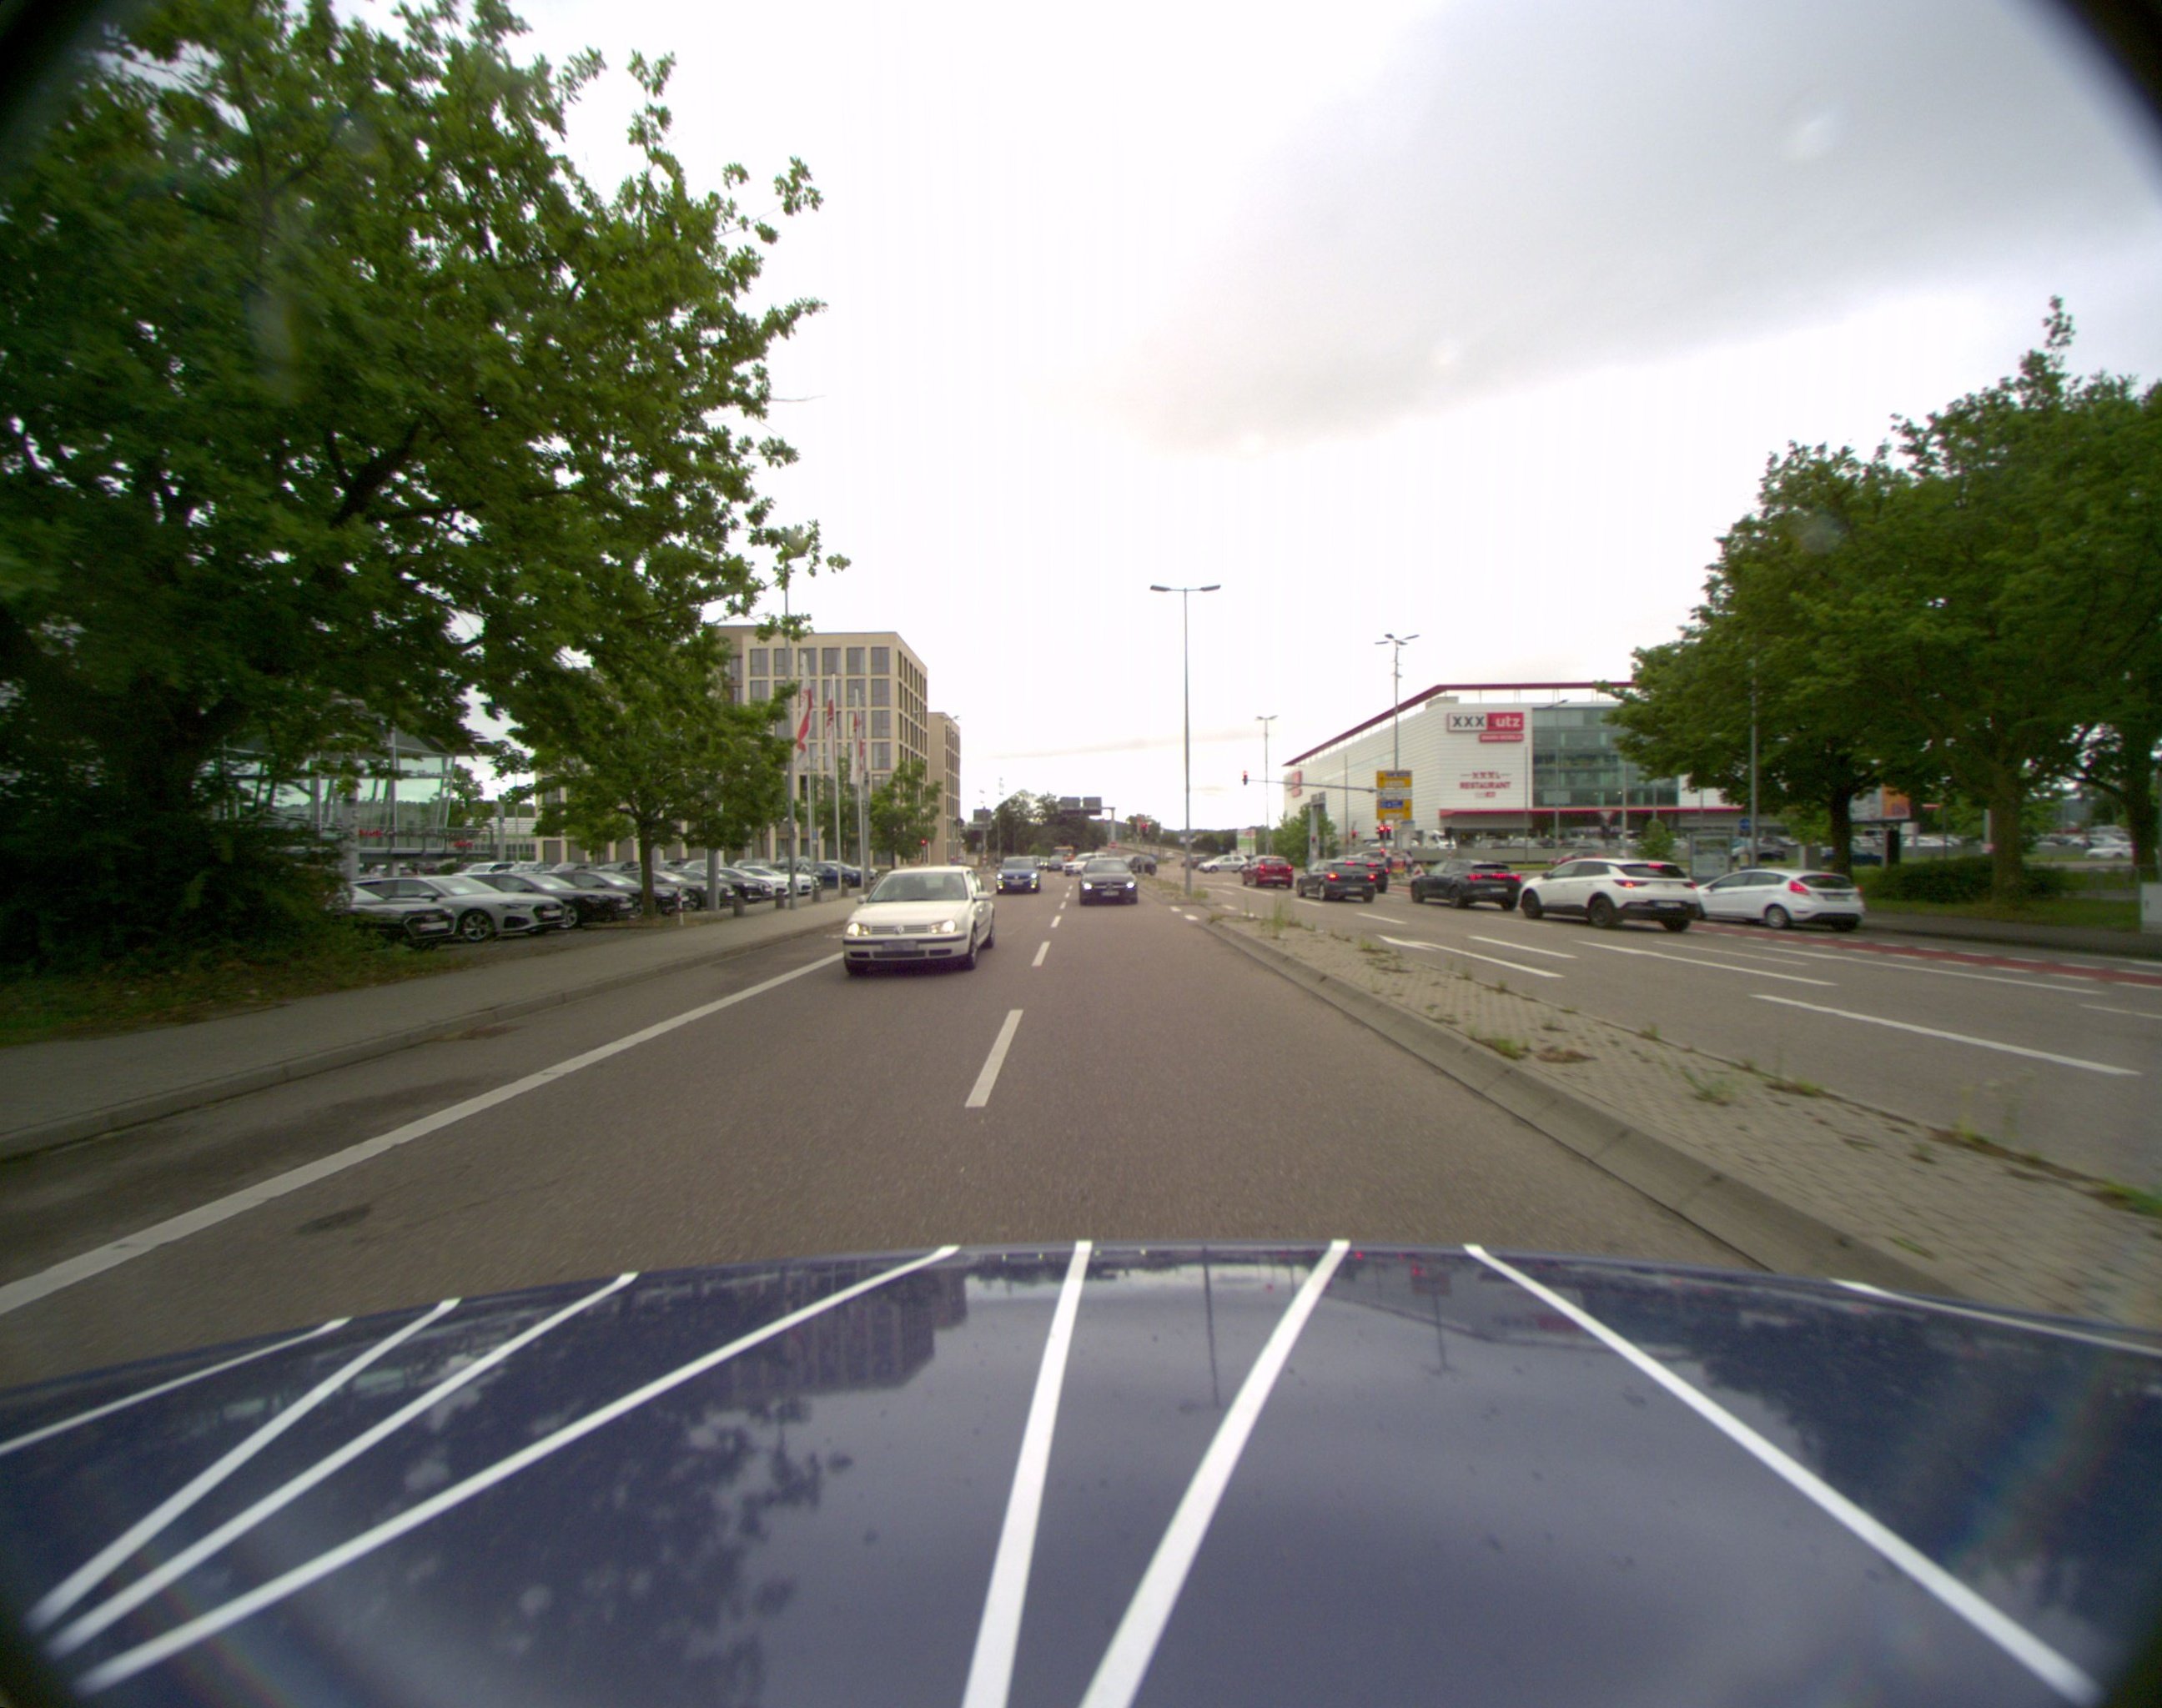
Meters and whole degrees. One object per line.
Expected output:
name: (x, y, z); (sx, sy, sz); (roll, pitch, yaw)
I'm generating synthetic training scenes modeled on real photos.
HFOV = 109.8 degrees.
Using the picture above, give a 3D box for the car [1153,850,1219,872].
car: (7.313, 0.496, 52.857); (4.265, 1.370, 1.765); (-1, -1, -27)

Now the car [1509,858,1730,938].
car: (12.570, 0.926, 18.208); (1.998, 1.585, 4.577); (3, 0, 1)

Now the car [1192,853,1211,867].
car: (14.242, 0.734, 89.984); (1.693, 1.519, 3.928); (-2, -1, 3)

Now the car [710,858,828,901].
car: (-13.213, 1.057, 32.345); (4.195, 1.477, 1.853); (-4, 0, 1)

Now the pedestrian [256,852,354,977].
pedestrian: (-12.112, 0.918, 11.885); (0.673, 1.860, 0.719); (-3, 1, 3)

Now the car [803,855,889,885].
car: (-13.285, 0.897, 43.131); (4.226, 1.477, 1.875); (-3, 1, 1)

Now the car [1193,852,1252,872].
car: (11.382, 0.654, 61.130); (4.220, 1.407, 1.801); (-1, -1, -11)

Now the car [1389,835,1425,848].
car: (44.657, -1.716, 104.151); (4.255, 1.665, 1.778); (-2, -1, 4)

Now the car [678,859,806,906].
car: (-13.154, 1.088, 29.667); (4.041, 1.477, 1.877); (-4, 0, 1)

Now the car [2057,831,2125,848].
car: (104.082, -1.433, 78.341); (1.794, 1.556, 4.002); (-2, -1, 4)

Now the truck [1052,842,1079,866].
truck: (-1.791, 0.080, 92.085); (2.819, 2.622, 6.677); (-2, -1, 2)

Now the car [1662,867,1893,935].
car: (17.471, 1.104, 19.412); (1.862, 1.453, 4.331); (1, 0, -1)

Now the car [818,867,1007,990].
car: (-2.312, 0.974, 11.549); (1.837, 1.469, 4.005); (-2, 0, 2)

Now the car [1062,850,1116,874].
car: (0.621, 0.569, 55.145); (1.795, 1.615, 4.384); (-2, -2, 34)

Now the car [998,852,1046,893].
car: (-2.619, 0.811, 32.982); (1.848, 1.612, 4.330); (-1, -1, -7)

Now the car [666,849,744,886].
car: (-23.216, 0.767, 47.173); (2.264, 2.002, 5.037); (-2, 2, 0)

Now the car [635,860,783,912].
car: (-13.100, 1.104, 26.941); (4.228, 1.477, 1.871); (-4, 0, 1)

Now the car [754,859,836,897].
car: (-13.530, 1.099, 36.253); (1.891, 1.477, 4.755); (-4, 1, 1)

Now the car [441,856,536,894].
car: (-36.730, 1.251, 47.302); (1.998, 2.002, 4.907); (-2, 2, 0)

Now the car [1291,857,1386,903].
car: (8.934, 0.844, 26.756); (1.862, 1.453, 4.332); (1, 0, 0)

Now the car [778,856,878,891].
car: (-13.320, 1.003, 40.243); (4.514, 1.478, 2.069); (-4, 2, -1)

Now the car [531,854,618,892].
car: (-31.182, 1.124, 46.974); (1.998, 2.002, 4.907); (-2, 2, 0)

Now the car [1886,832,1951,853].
car: (87.696, -1.171, 79.657); (1.998, 2.001, 4.328); (-2, -1, 2)

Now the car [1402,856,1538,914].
car: (12.213, 0.907, 24.261); (1.885, 1.536, 4.597); (1, 1, -1)

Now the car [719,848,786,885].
car: (-20.216, 0.739, 46.989); (1.998, 2.002, 4.714); (-2, 2, 0)

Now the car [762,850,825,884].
car: (-17.646, 0.743, 46.920); (1.999, 1.852, 4.785); (-2, 2, 0)

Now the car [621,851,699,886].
car: (-25.869, 0.824, 46.928); (2.053, 1.866, 4.960); (-2, 2, -2)

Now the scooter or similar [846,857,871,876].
scooter or similar: (-14.697, 0.838, 50.195); (1.557, 1.211, 0.560); (-1, -2, 18)

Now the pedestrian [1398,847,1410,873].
pedestrian: (20.194, 0.353, 47.551); (0.639, 1.617, 0.693); (0, 3, 26)

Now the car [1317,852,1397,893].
car: (12.222, 0.763, 33.946); (1.885, 1.628, 4.332); (2, 1, -1)

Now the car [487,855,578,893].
car: (-33.892, 1.175, 47.158); (1.998, 2.002, 4.907); (-2, 2, 0)
